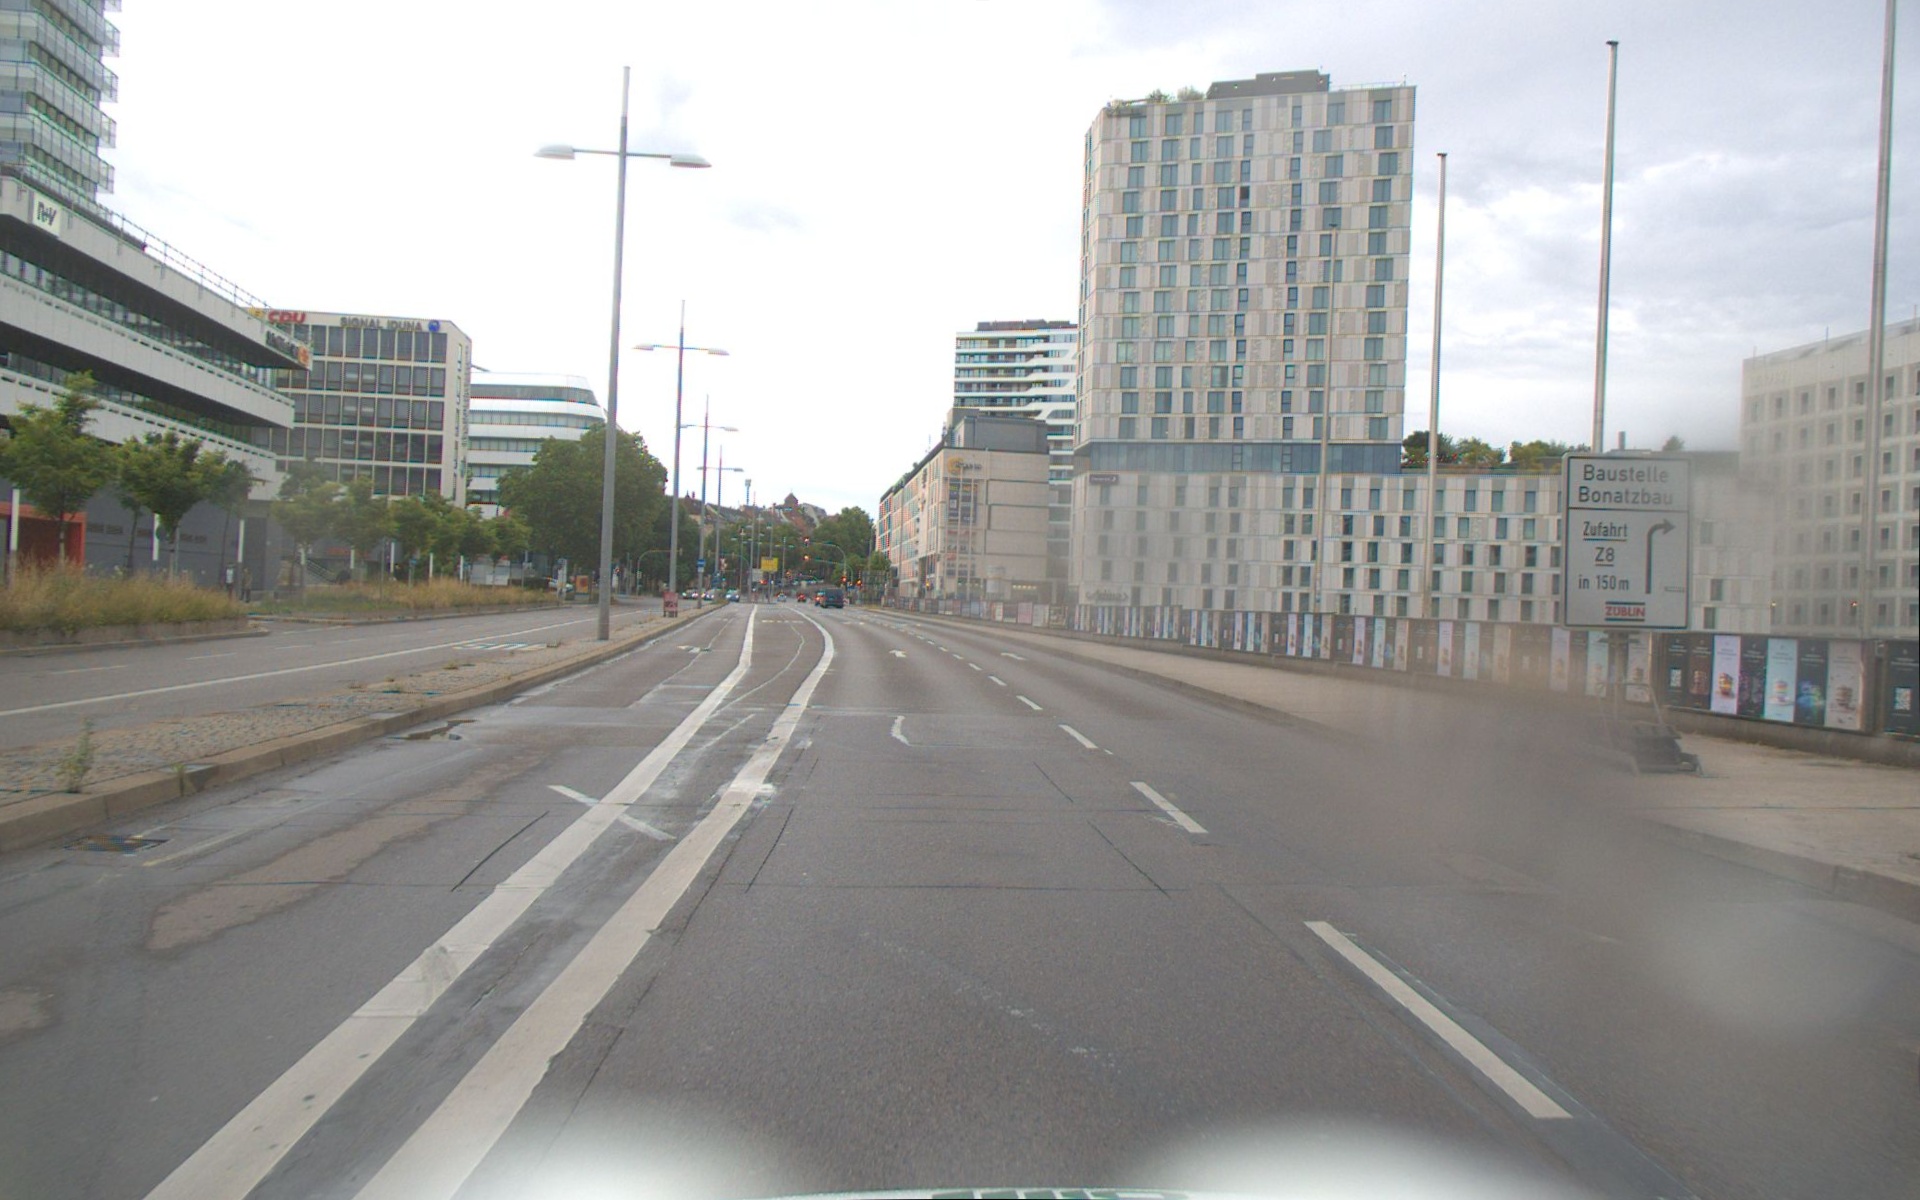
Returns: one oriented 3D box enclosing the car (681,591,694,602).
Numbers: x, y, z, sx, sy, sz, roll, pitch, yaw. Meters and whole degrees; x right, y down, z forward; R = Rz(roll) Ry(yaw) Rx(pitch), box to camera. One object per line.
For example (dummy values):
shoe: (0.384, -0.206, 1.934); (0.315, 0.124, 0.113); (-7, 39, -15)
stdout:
car: (-38.645, -0.494, 234.622); (1.710, 1.352, 4.218); (2, -1, -7)

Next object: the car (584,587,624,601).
car: (-44.661, -0.751, 207.533); (4.405, 1.660, 1.896); (1, -1, 9)

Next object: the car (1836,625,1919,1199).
car: (3.124, 0.741, 2.149); (1.688, 1.400, 4.153); (1, -1, -2)

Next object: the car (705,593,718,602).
car: (-35.390, -0.383, 235.649); (1.710, 1.279, 3.534); (2, 0, -7)

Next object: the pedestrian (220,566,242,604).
pedestrian: (-32.742, -0.668, 74.325); (0.606, 1.687, 0.797); (3, -2, -5)

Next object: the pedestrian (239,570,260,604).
pedestrian: (-31.995, -0.589, 74.487); (0.606, 1.471, 0.797); (1, -2, -5)

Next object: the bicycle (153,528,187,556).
bicycle: (-26.180, -1.914, 54.783); (0.604, 0.872, 1.633); (3, -2, -40)

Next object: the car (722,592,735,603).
car: (-32.914, -0.378, 235.029); (1.710, 1.470, 3.389); (2, -1, -7)

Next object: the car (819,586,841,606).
car: (-13.059, -0.389, 166.047); (1.994, 1.915, 5.034); (-1, 0, -7)

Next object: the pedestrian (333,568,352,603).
pedestrian: (-33.125, -0.797, 88.677); (0.769, 1.839, 0.627); (2, -2, -7)
